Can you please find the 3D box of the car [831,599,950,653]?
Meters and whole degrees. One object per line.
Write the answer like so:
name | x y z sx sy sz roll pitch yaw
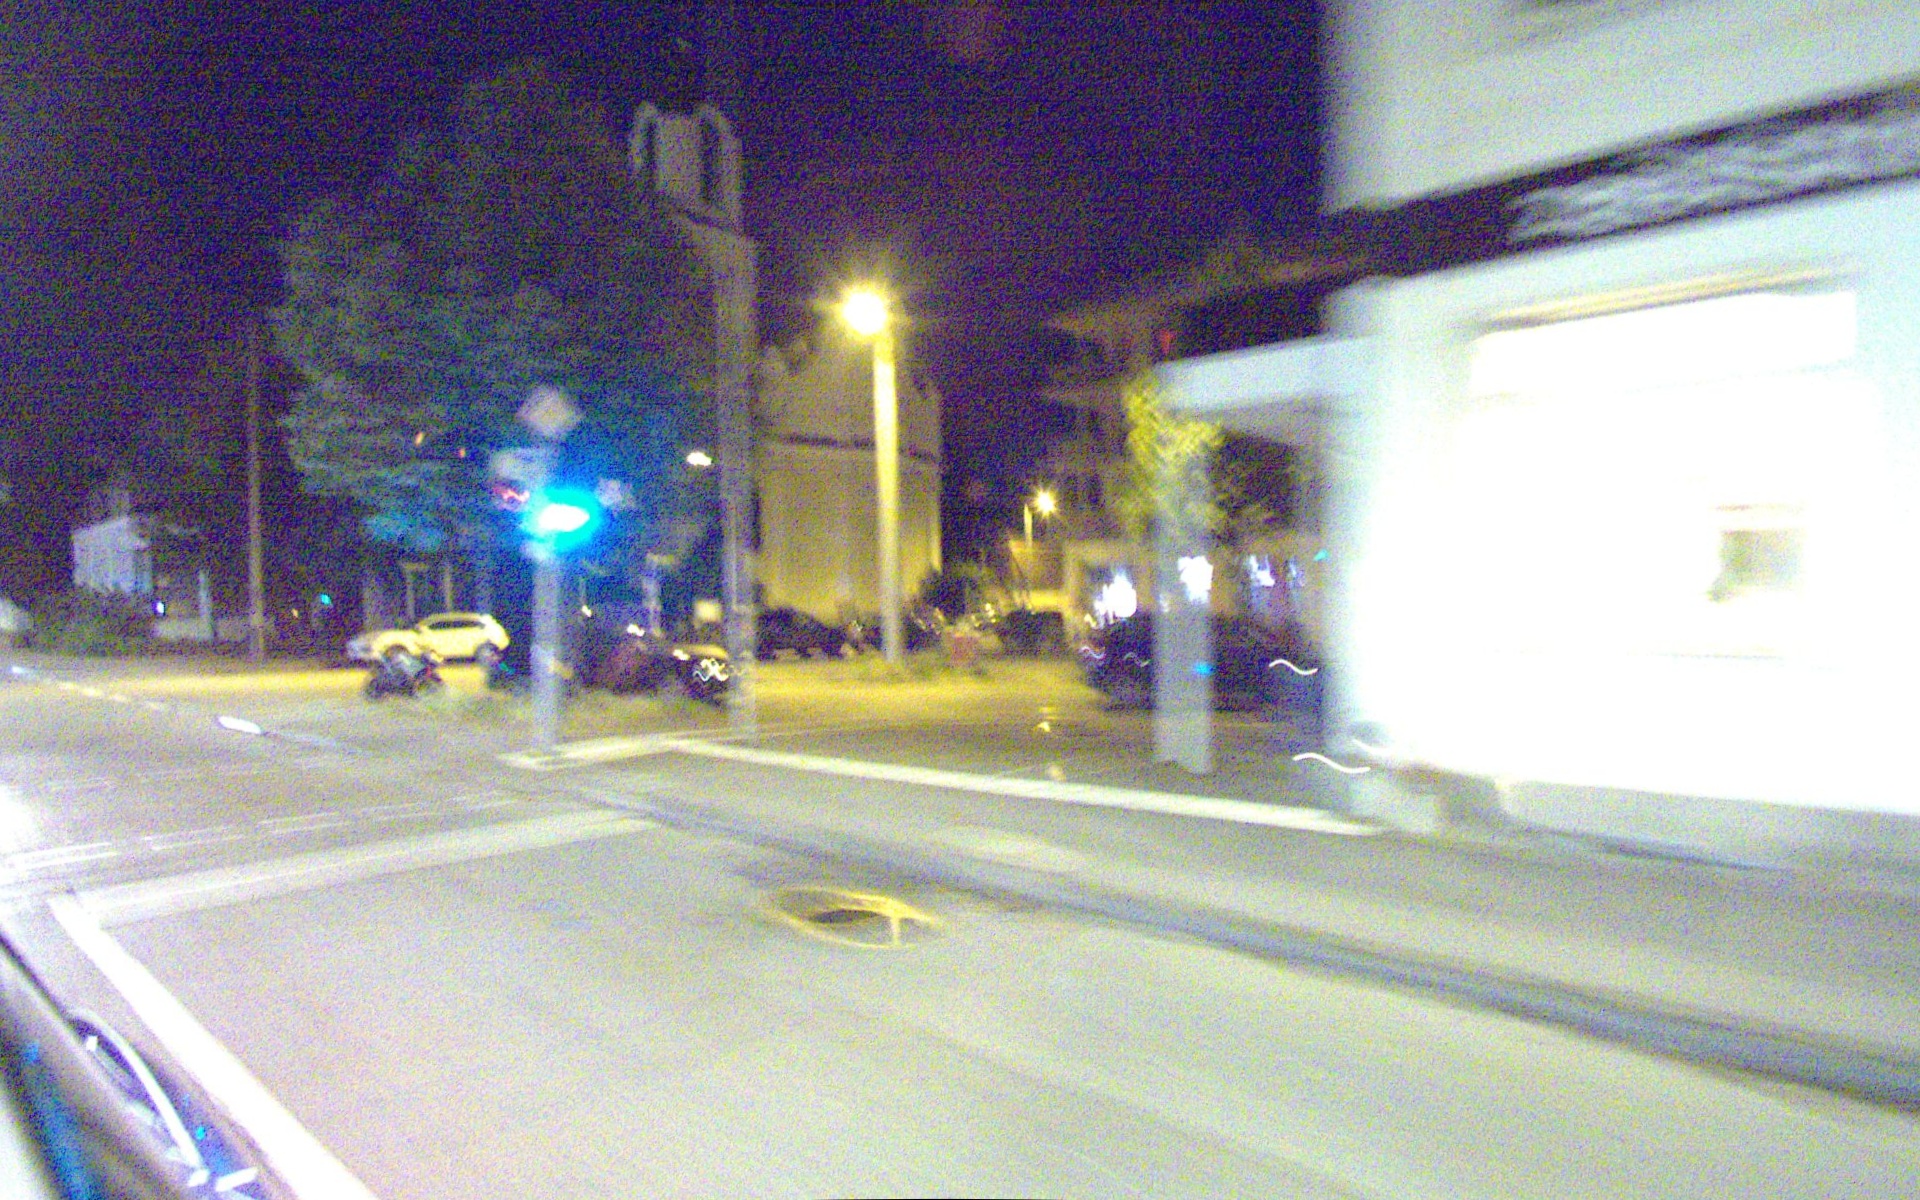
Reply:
car | -2.553 0.927 38.009 1.961 1.767 4.293 4 3 42

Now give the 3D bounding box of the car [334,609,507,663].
car | -17.708 1.127 33.403 2.001 1.641 4.614 0 -1 39

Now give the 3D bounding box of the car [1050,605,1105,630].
car | 7.439 1.075 63.813 1.798 1.530 3.636 0 -1 39

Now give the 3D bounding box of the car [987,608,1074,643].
car | 3.192 1.102 45.342 1.920 1.467 4.159 0 -1 37

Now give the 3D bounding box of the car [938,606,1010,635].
car | 0.827 1.137 55.818 1.828 1.517 3.944 -2 -1 42

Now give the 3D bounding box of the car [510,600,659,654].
car | -14.057 0.978 38.171 2.026 1.904 4.939 -2 -1 39

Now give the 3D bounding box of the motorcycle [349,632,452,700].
motorcycle | -10.331 1.195 18.682 2.019 1.189 0.569 -1 -1 24

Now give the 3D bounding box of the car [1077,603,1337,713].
car | 4.134 0.922 17.288 4.069 1.656 1.913 0 2 13

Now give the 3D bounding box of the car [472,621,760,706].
car | -6.201 1.102 18.482 4.677 1.435 1.887 0 -1 10

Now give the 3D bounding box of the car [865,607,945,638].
car | -2.776 1.142 51.652 1.901 1.517 3.947 -2 -1 39

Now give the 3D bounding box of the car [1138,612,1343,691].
car | 6.120 1.113 22.482 4.216 1.625 1.835 0 -2 12

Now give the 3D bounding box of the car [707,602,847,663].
car | -6.031 1.008 33.693 1.957 1.767 4.292 2 2 42
